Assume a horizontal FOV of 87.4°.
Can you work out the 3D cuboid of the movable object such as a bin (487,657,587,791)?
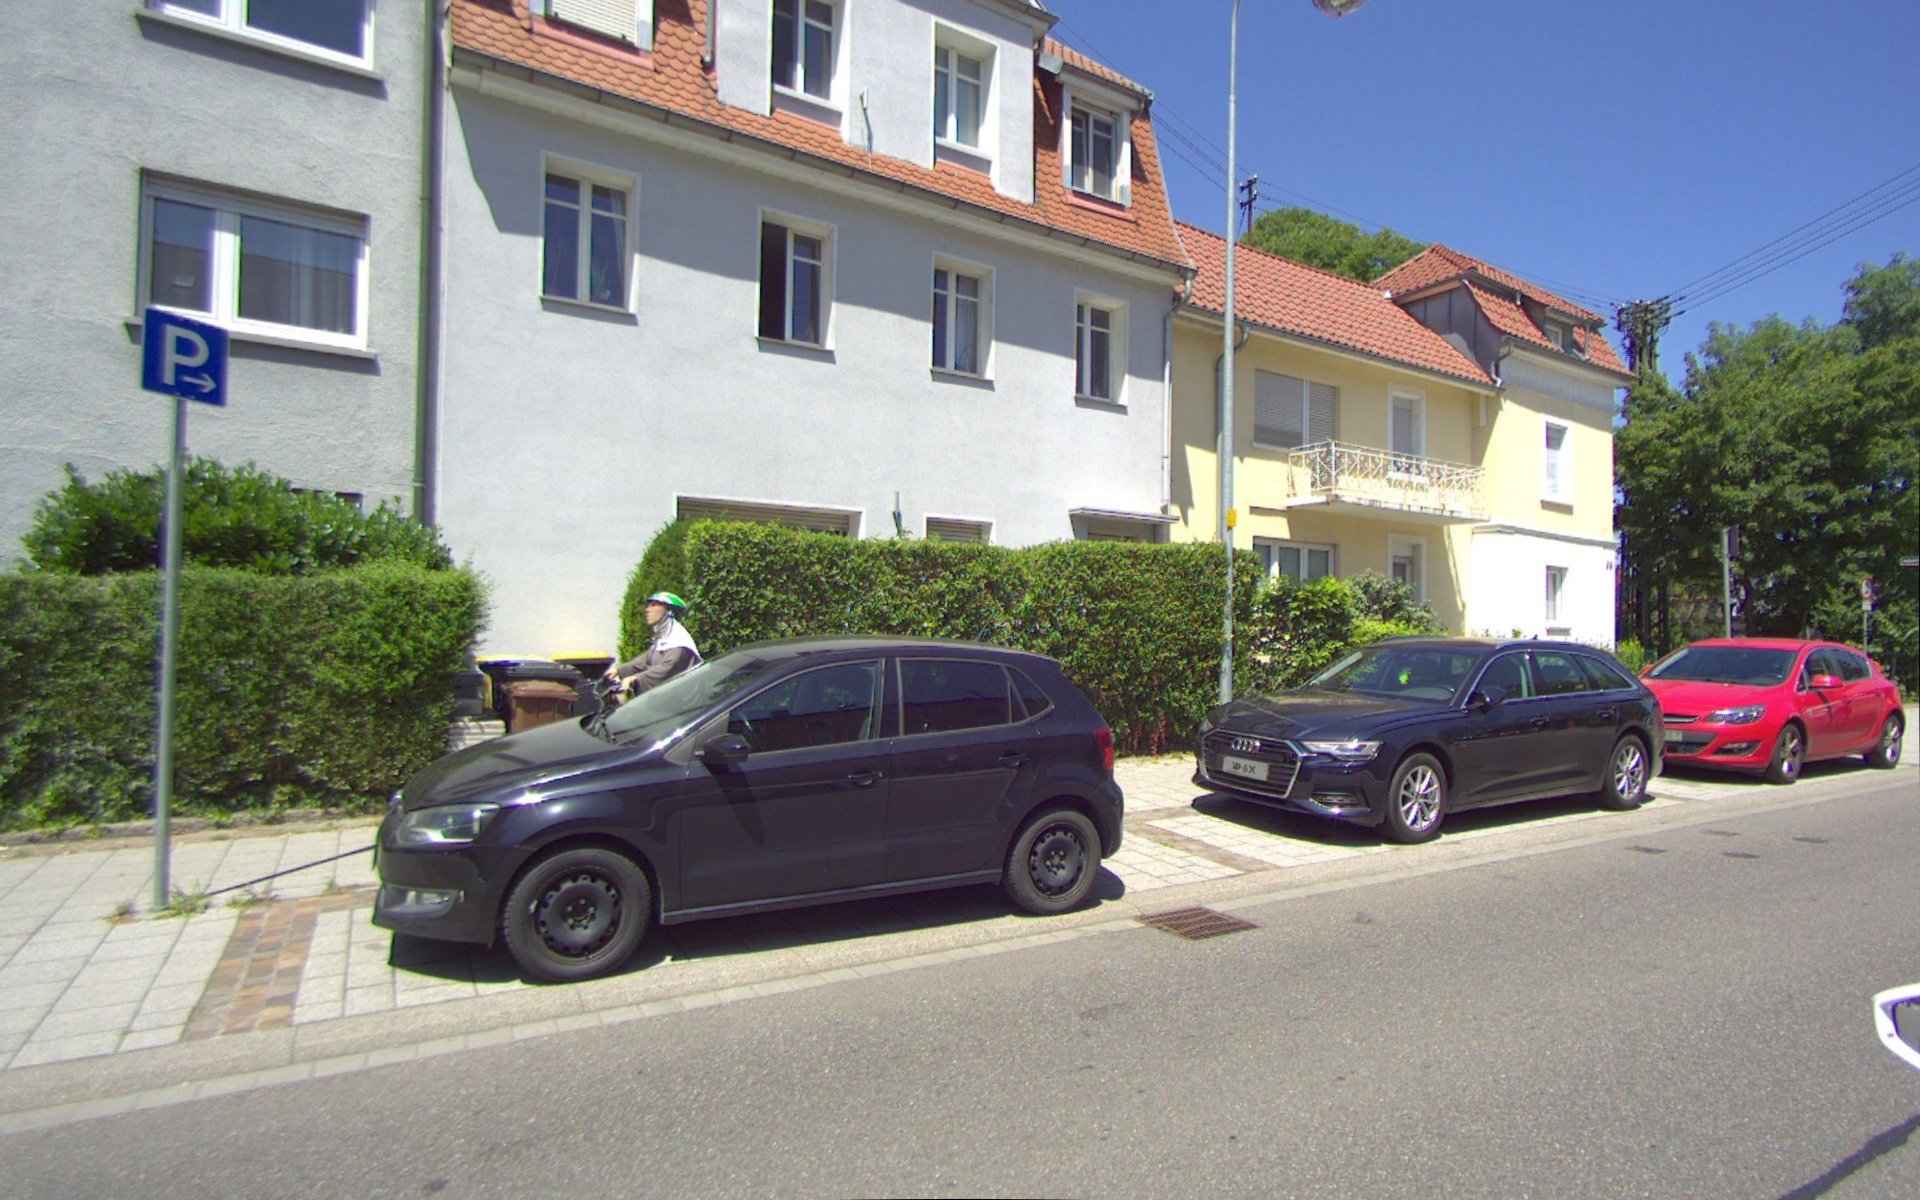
[{"bbox_3d":[-3.500,1.001,8.312,0.697,1.044,0.465,1,-2,-30],"label":"movable object such as a bin"}]

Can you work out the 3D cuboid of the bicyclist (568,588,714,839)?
[{"bbox_3d":[-2.331,0.783,7.313,0.826,1.681,0.778,2,-2,-32],"label":"bicyclist"}]

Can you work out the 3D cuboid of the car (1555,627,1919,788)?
[{"bbox_3d":[9.295,1.134,11.830,4.682,1.499,1.868,2,1,-30],"label":"car"}]

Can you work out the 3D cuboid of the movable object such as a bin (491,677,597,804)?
[{"bbox_3d":[-3.273,1.079,7.901,0.697,0.924,0.492,1,-2,-30],"label":"movable object such as a bin"}]

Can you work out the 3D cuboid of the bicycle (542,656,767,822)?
[{"bbox_3d":[-2.225,0.965,7.357,1.495,1.098,0.554,1,-2,-28],"label":"bicycle"}]

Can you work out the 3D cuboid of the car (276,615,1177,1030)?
[{"bbox_3d":[-1.051,0.877,5.448,4.142,1.479,1.781,1,1,-26],"label":"car"}]

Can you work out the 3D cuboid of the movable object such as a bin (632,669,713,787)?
[{"bbox_3d":[-2.614,1.142,9.130,0.607,1.003,0.465,1,-2,-30],"label":"movable object such as a bin"}]

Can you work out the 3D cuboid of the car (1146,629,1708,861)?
[{"bbox_3d":[4.262,1.034,8.845,5.245,1.481,1.854,1,0,-31],"label":"car"}]
